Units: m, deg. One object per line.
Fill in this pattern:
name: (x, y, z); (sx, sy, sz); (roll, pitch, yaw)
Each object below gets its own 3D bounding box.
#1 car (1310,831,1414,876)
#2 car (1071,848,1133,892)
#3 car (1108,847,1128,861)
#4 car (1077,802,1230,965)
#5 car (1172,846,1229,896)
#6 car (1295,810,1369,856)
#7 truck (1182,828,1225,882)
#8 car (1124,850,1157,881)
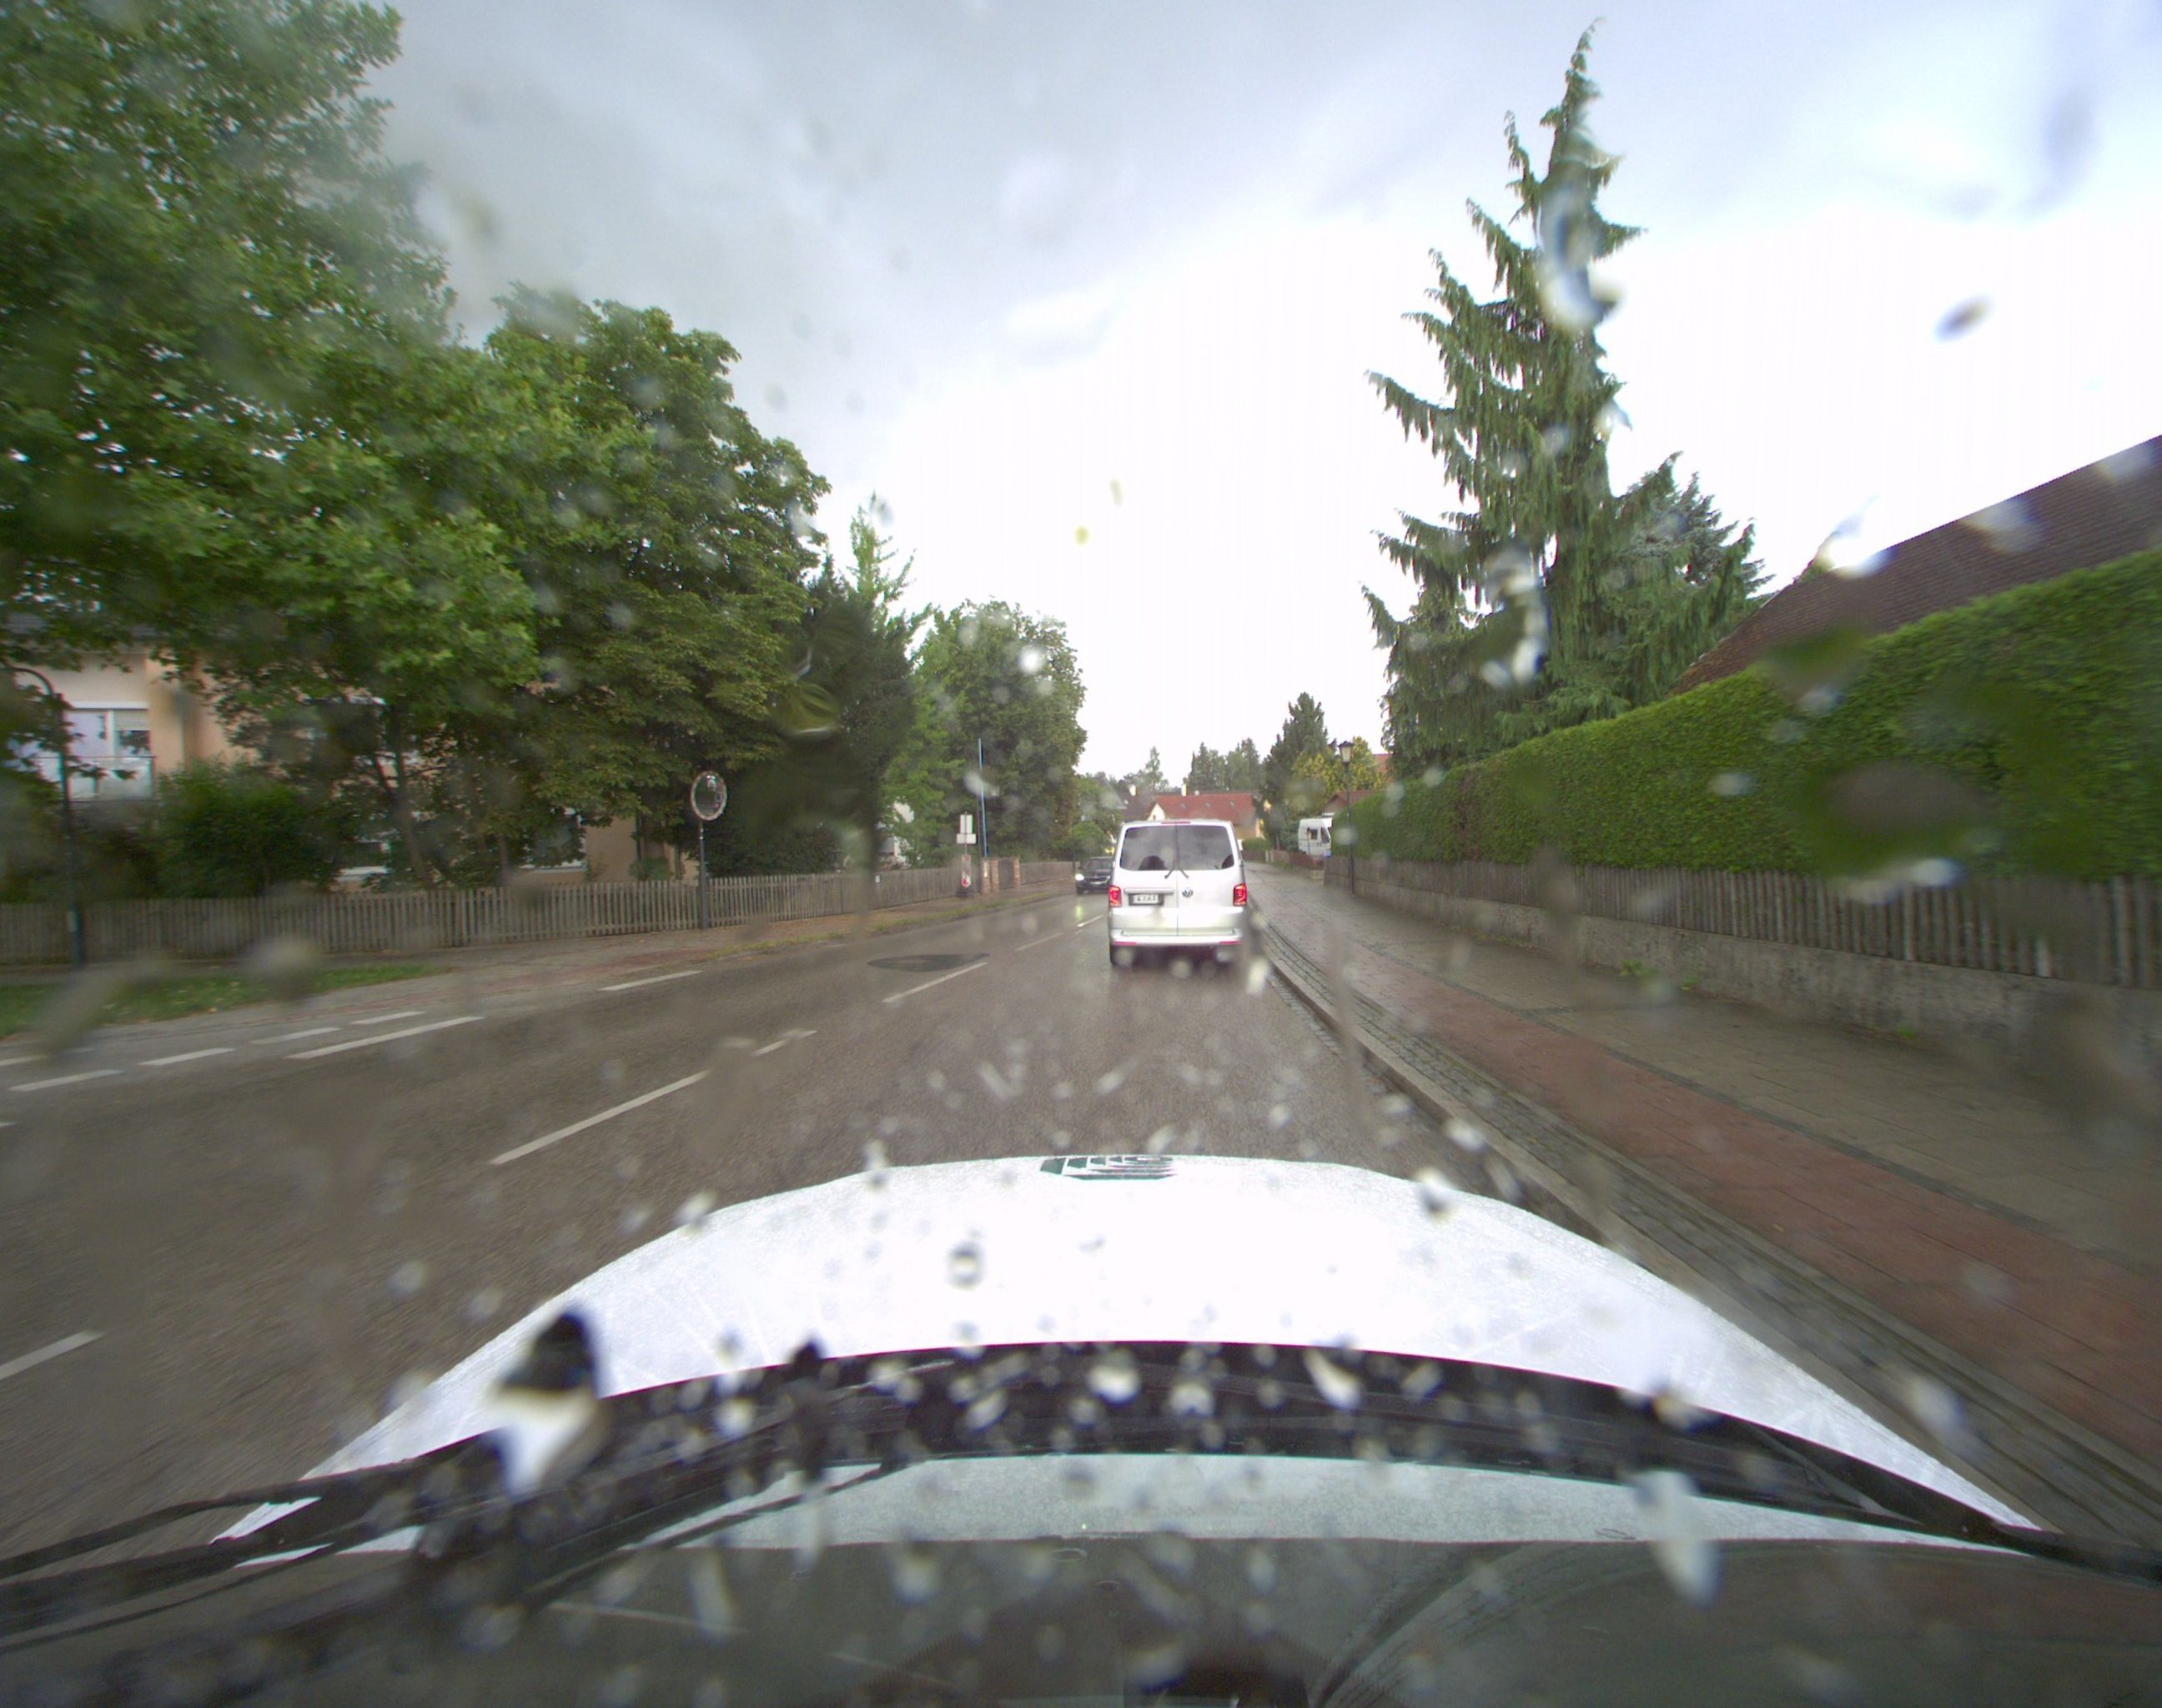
car: (12.461, -0.037, 36.340); (4.073, 1.751, 1.697); (-3, 2, 5)
car: (0.947, 0.636, 33.222); (1.772, 1.663, 4.459); (-1, -1, 11)
car: (5.462, 0.051, 120.222); (1.995, 2.014, 3.983); (0, -1, -12)
car: (1.248, 0.391, 12.170); (1.789, 2.014, 4.013); (-1, -1, 12)
car: (4.163, 0.561, 28.161); (1.790, 1.588, 4.010); (0, -1, 9)
car: (12.760, -0.991, 41.790); (1.990, 2.173, 4.945); (0, -1, -4)
truck: (7.587, 0.090, 50.238); (2.461, 3.074, 6.311); (-1, -1, 9)
car: (3.532, 0.671, 48.048); (1.631, 1.765, 4.340); (0, -1, 8)
